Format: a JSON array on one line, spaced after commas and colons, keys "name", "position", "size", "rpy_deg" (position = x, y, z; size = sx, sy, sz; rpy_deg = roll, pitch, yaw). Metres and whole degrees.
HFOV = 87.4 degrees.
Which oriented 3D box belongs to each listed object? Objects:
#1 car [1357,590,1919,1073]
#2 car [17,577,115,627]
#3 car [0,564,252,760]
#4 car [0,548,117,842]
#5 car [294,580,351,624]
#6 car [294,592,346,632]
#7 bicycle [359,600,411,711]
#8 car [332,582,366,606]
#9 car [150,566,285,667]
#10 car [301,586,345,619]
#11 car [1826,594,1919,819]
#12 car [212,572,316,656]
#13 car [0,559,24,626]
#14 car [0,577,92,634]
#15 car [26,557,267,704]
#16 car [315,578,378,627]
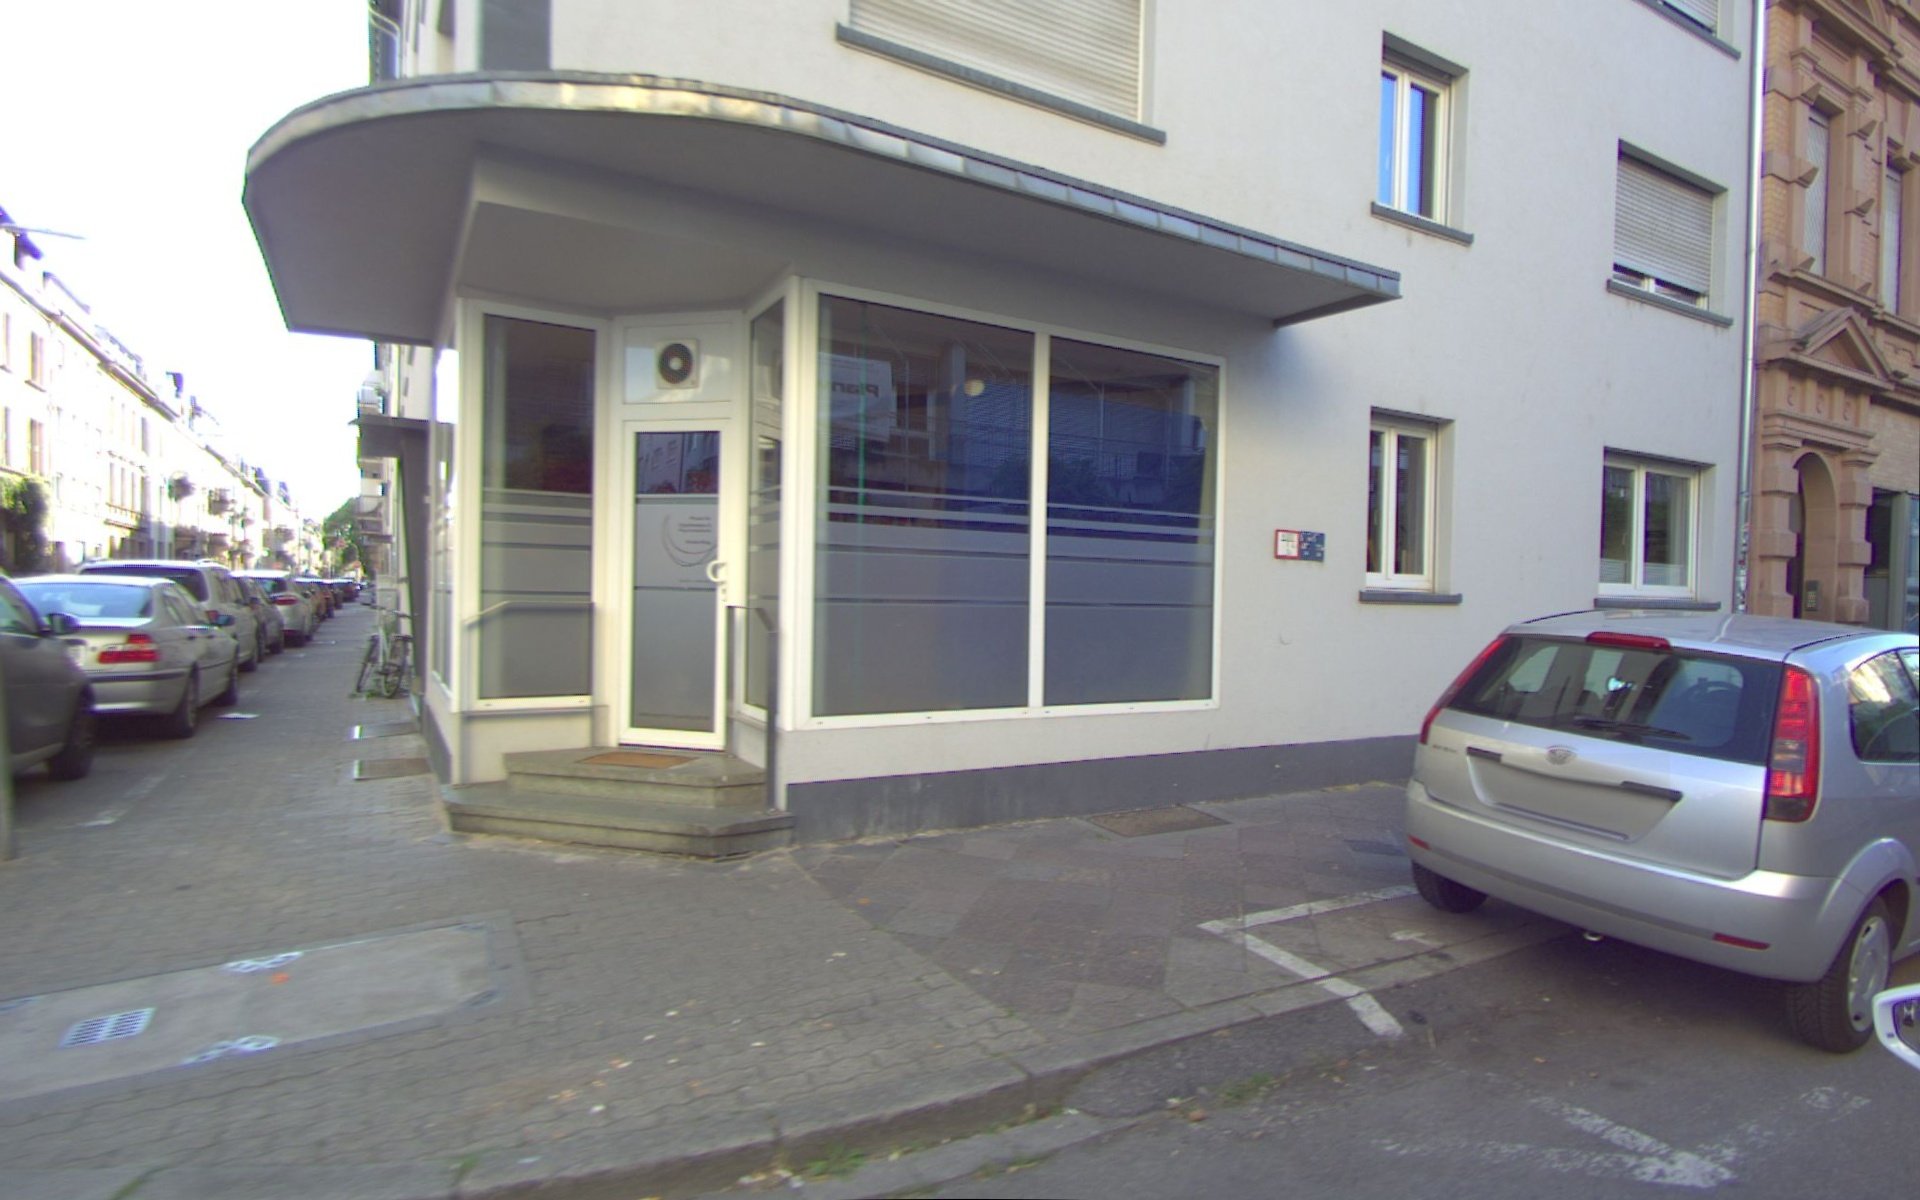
[{"name": "car", "position": [3.690, 0.723, 4.684], "size": [3.515, 1.449, 1.623], "rpy_deg": [1, 1, -32]}, {"name": "car", "position": [-30.325, 0.035, 34.183], "size": [1.815, 1.581, 4.056], "rpy_deg": [1, 1, -32]}, {"name": "car", "position": [-8.171, 0.424, 9.547], "size": [1.945, 1.472, 4.229], "rpy_deg": [1, 1, -30]}, {"name": "car", "position": [-6.393, 0.475, 5.948], "size": [1.628, 1.587, 2.742], "rpy_deg": [1, 1, -29]}, {"name": "car", "position": [-24.925, 0.034, 39.328], "size": [1.815, 1.581, 4.056], "rpy_deg": [1, 1, -32]}, {"name": "car", "position": [-28.086, 0.487, 44.141], "size": [1.815, 1.581, 4.056], "rpy_deg": [1, 1, -32]}, {"name": "bicycle", "position": [-7.006, 0.624, 12.197], "size": [0.483, 1.152, 2.040], "rpy_deg": [1, 2, -31]}, {"name": "car", "position": [-44.910, -0.449, 73.871], "size": [1.976, 1.646, 4.547], "rpy_deg": [1, 1, -30]}, {"name": "car", "position": [-13.048, 0.207, 17.850], "size": [1.609, 1.581, 4.056], "rpy_deg": [1, 1, -32]}, {"name": "car", "position": [-32.546, 0.106, 51.335], "size": [1.815, 1.581, 4.056], "rpy_deg": [1, 1, -32]}, {"name": "car", "position": [8.303, 0.790, 7.605], "size": [3.556, 1.529, 1.547], "rpy_deg": [1, 3, -31]}, {"name": "car", "position": [-15.038, 0.244, 21.858], "size": [1.640, 1.666, 3.575], "rpy_deg": [1, 1, -32]}, {"name": "car", "position": [-23.250, -0.190, 23.075], "size": [1.815, 1.581, 4.056], "rpy_deg": [1, 1, -32]}, {"name": "car", "position": [-27.921, 0.127, 30.438], "size": [1.815, 1.581, 4.056], "rpy_deg": [1, 1, -32]}, {"name": "car", "position": [-10.824, 0.311, 13.696], "size": [1.977, 1.675, 4.058], "rpy_deg": [1, 1, -31]}, {"name": "car", "position": [-21.589, 0.041, 35.334], "size": [1.815, 1.581, 4.056], "rpy_deg": [1, 1, -32]}]
